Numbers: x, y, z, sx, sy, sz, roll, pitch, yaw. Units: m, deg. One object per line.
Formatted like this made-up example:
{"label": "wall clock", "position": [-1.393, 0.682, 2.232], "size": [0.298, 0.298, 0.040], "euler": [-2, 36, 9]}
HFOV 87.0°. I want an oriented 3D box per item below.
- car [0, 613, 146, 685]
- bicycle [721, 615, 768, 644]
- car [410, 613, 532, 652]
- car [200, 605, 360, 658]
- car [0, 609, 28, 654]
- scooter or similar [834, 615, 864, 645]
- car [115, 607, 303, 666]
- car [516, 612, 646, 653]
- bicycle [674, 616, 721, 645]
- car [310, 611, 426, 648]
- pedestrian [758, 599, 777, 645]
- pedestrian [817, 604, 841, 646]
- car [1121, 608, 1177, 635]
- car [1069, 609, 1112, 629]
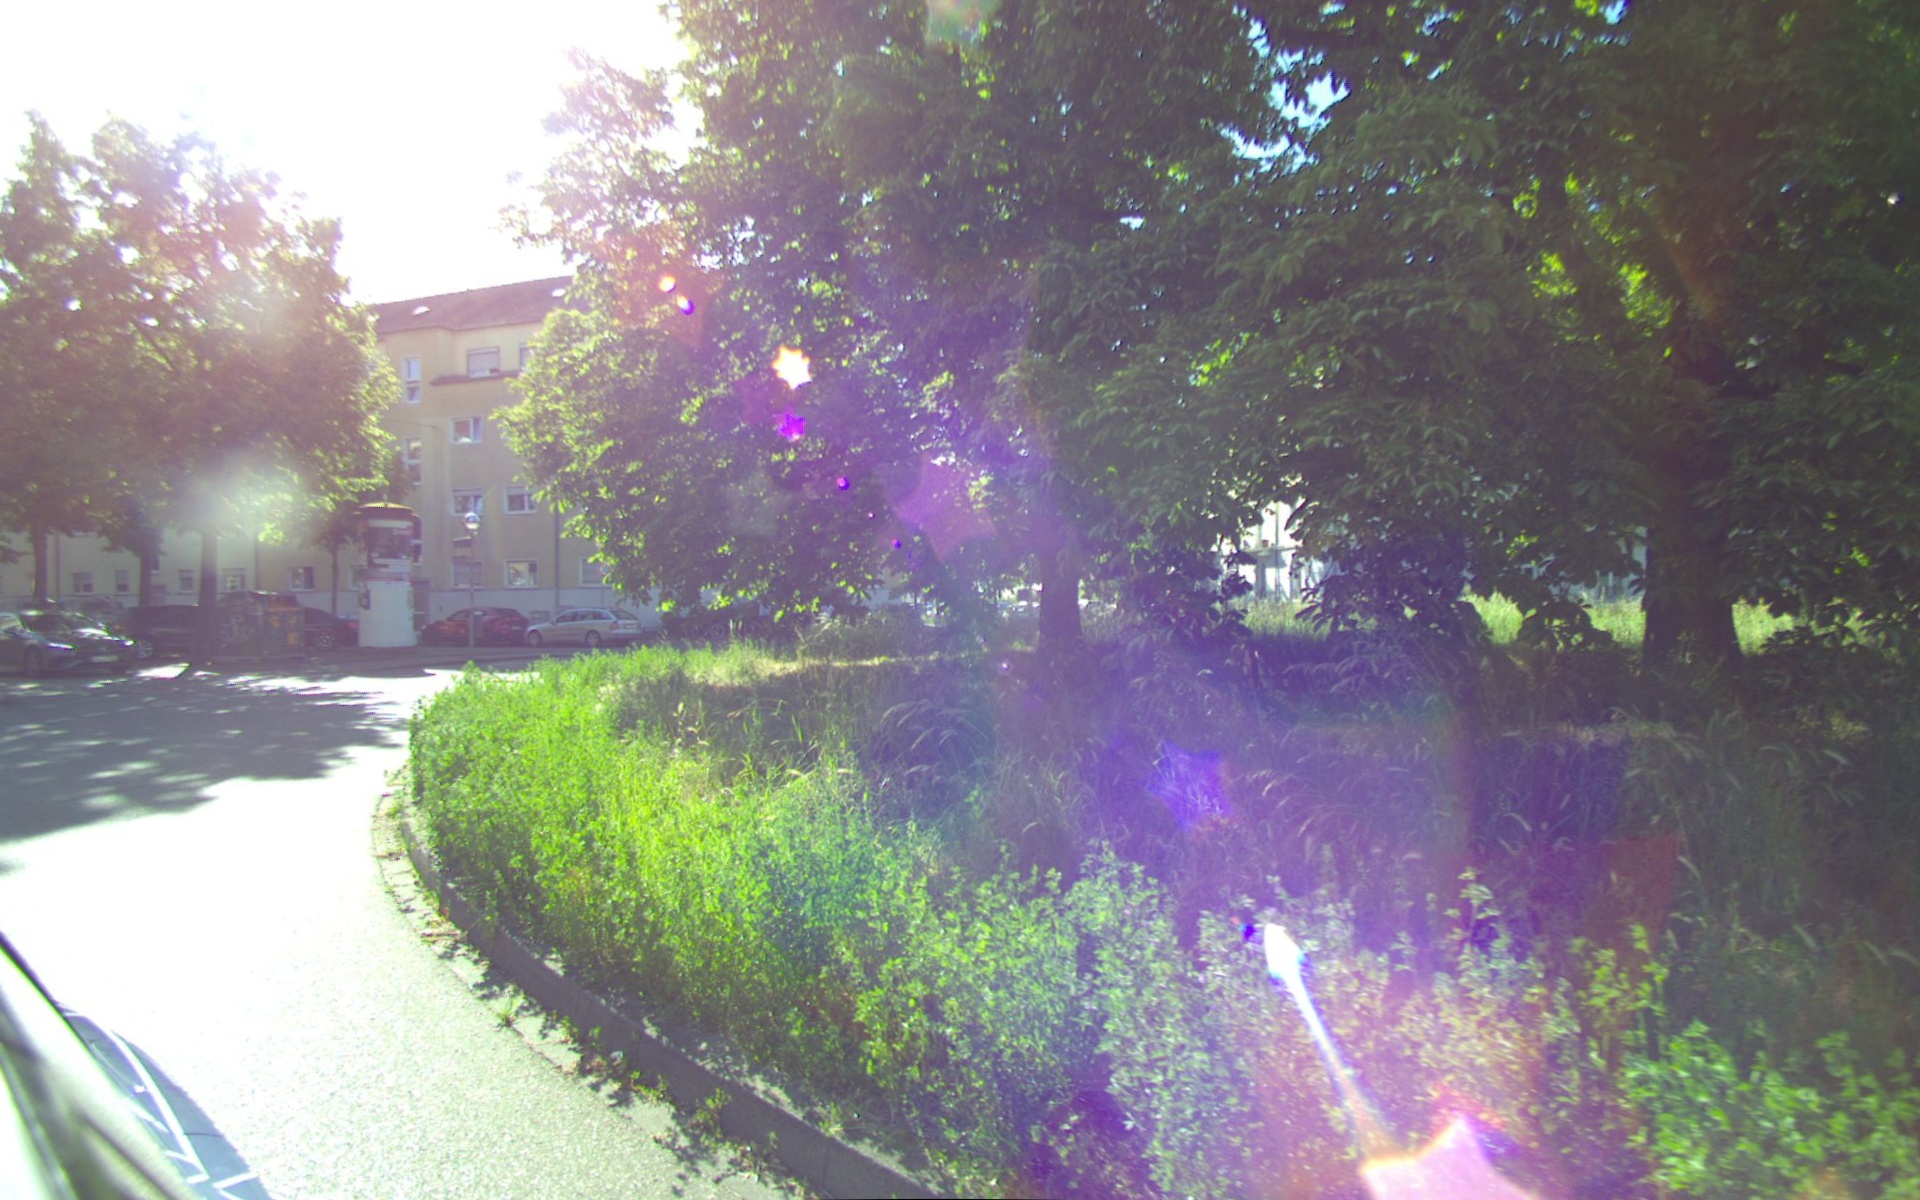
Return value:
{"label": "car", "position": [-20.402, 1.057, 22.520], "size": [4.181, 1.446, 1.785], "euler": [-1, 0, 23]}
{"label": "bicycle", "position": [-8.542, 1.171, 40.159], "size": [1.773, 1.116, 0.500], "euler": [-1, -1, -4]}
{"label": "car", "position": [-18.822, 1.239, 38.939], "size": [4.355, 1.450, 1.723], "euler": [-1, -1, 21]}
{"label": "car", "position": [-20.463, 0.924, 30.663], "size": [3.932, 1.484, 1.765], "euler": [0, -1, -31]}
{"label": "car", "position": [-33.022, 1.045, 32.739], "size": [3.932, 1.452, 1.829], "euler": [0, -1, -32]}
{"label": "scooter or similar", "position": [-4.326, 1.160, 39.451], "size": [0.883, 1.030, 0.921], "euler": [-3, 3, -28]}
{"label": "car", "position": [-20.442, 0.956, 27.767], "size": [3.931, 1.484, 1.765], "euler": [0, -1, -30]}
{"label": "car", "position": [-13.895, 1.186, 37.122], "size": [4.456, 1.422, 1.721], "euler": [-1, -1, 21]}
{"label": "bicycle", "position": [-10.379, 1.202, 40.027], "size": [1.780, 1.116, 0.498], "euler": [-1, -1, 10]}
{"label": "car", "position": [-24.008, 1.203, 41.067], "size": [4.355, 1.450, 1.723], "euler": [-1, -1, 21]}
{"label": "pedestrian", "position": [-7.377, 0.826, 38.829], "size": [0.600, 1.705, 0.555], "euler": [-2, 3, -5]}
{"label": "pedestrian", "position": [-5.040, 0.950, 39.021], "size": [0.685, 1.535, 0.652], "euler": [-3, 3, -28]}
{"label": "car", "position": [10.438, 1.156, 56.244], "size": [1.771, 1.423, 4.008], "euler": [0, -1, -9]}
{"label": "car", "position": [8.625, 1.239, 67.247], "size": [1.771, 1.265, 3.727], "euler": [0, -1, -11]}
